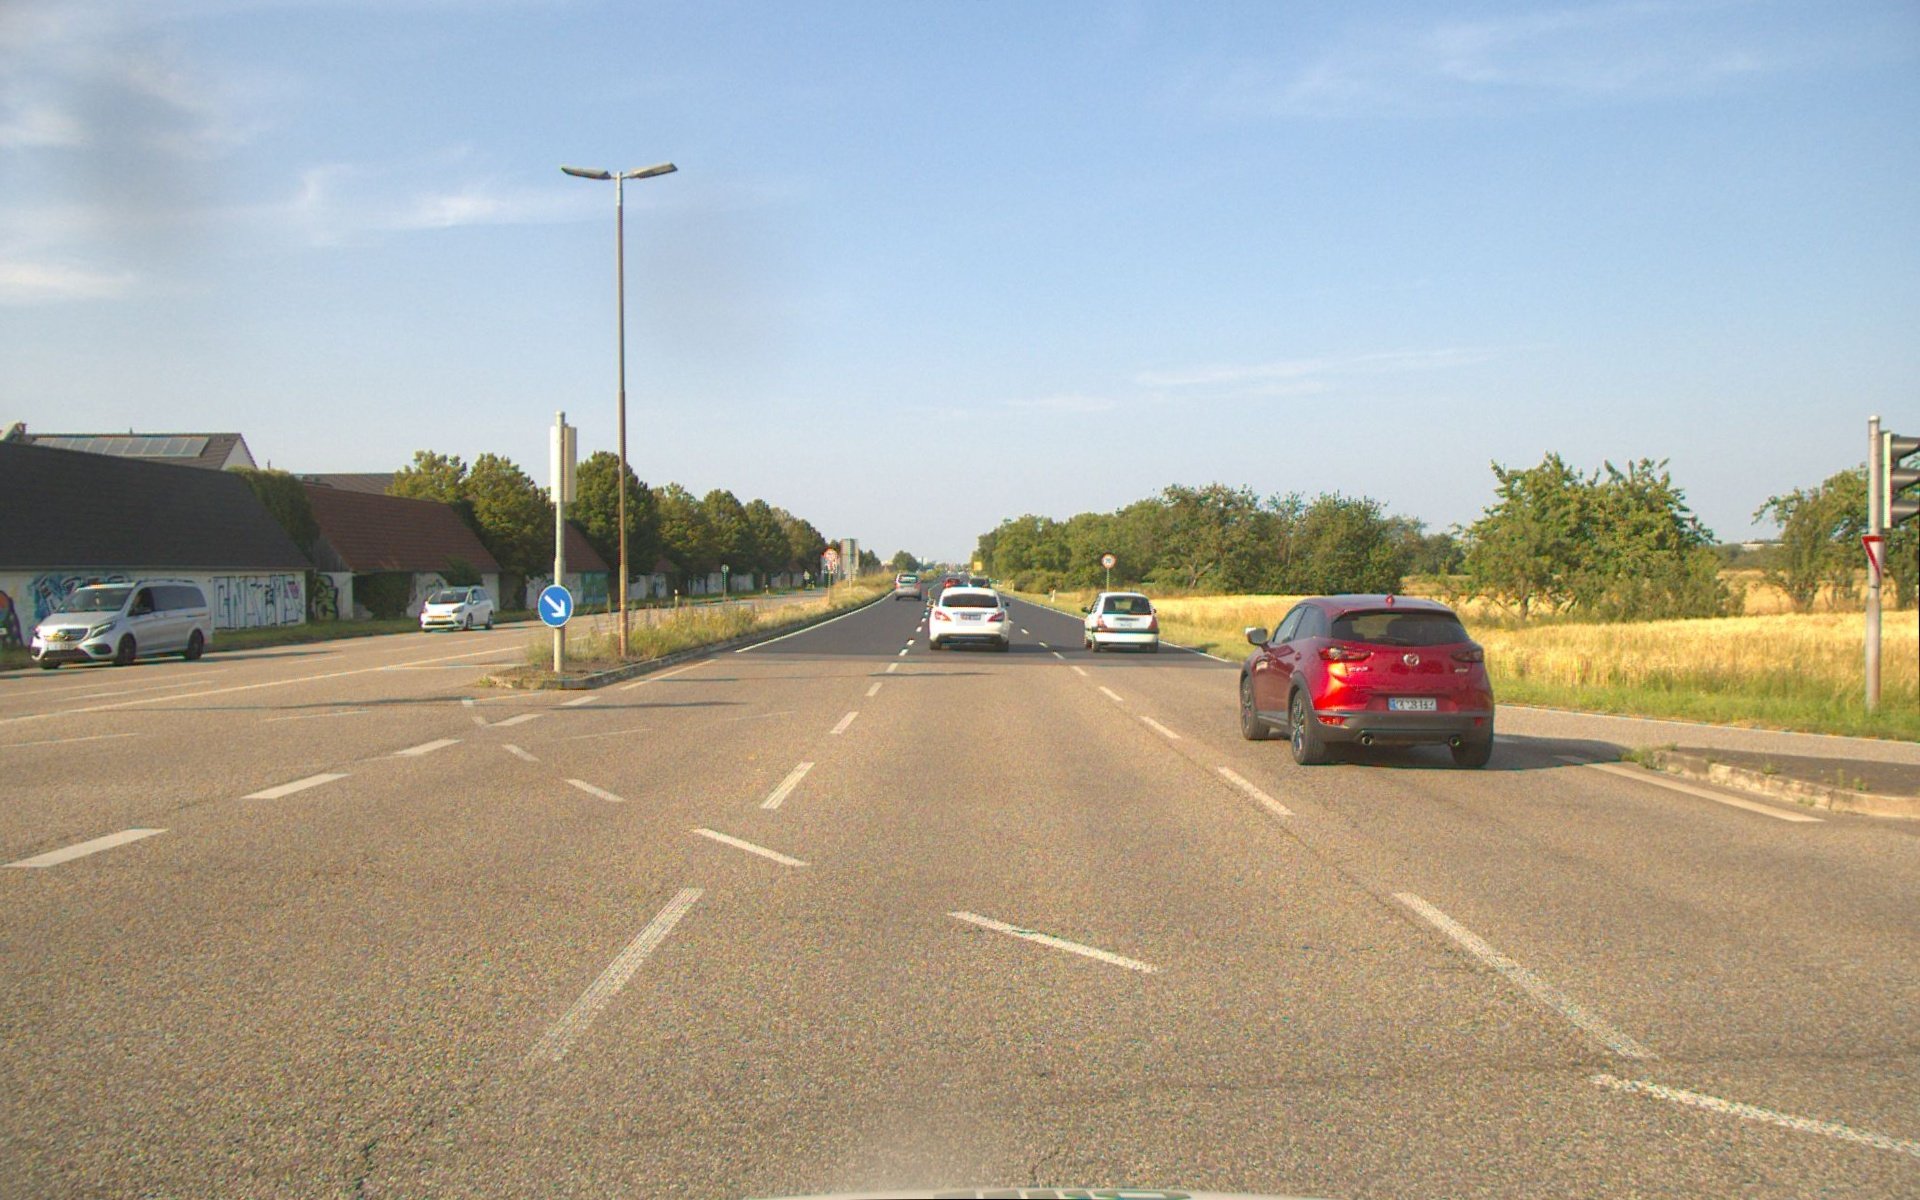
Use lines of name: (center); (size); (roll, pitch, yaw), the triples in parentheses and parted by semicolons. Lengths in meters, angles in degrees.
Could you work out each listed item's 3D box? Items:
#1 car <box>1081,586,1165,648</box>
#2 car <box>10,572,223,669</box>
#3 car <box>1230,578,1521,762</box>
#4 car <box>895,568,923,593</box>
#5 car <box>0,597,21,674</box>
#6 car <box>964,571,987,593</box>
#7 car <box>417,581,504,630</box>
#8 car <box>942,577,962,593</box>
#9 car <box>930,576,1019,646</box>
car: (3.913, 0.383, 40.177); (1.584, 1.411, 3.951); (1, 0, -1)
car: (-19.176, 0.433, 37.943); (1.868, 1.961, 5.455); (-3, 0, 2)
car: (3.901, 0.584, 16.298); (1.669, 1.532, 4.500); (1, 0, -1)
car: (-3.575, -1.366, 116.778); (1.722, 1.646, 4.001); (1, 0, 1)
car: (-19.990, 0.756, 31.093); (1.667, 1.523, 4.541); (-4, 0, 6)
car: (1.257, -1.426, 134.676); (1.790, 1.758, 4.000); (1, 0, -1)
car: (-19.175, 0.202, 63.697); (1.799, 1.736, 4.757); (-3, 0, 0)
car: (-0.779, -1.399, 155.524); (1.775, 1.461, 3.858); (1, 0, -1)
car: (0.320, 0.245, 39.083); (1.953, 1.543, 4.000); (1, 0, 0)
